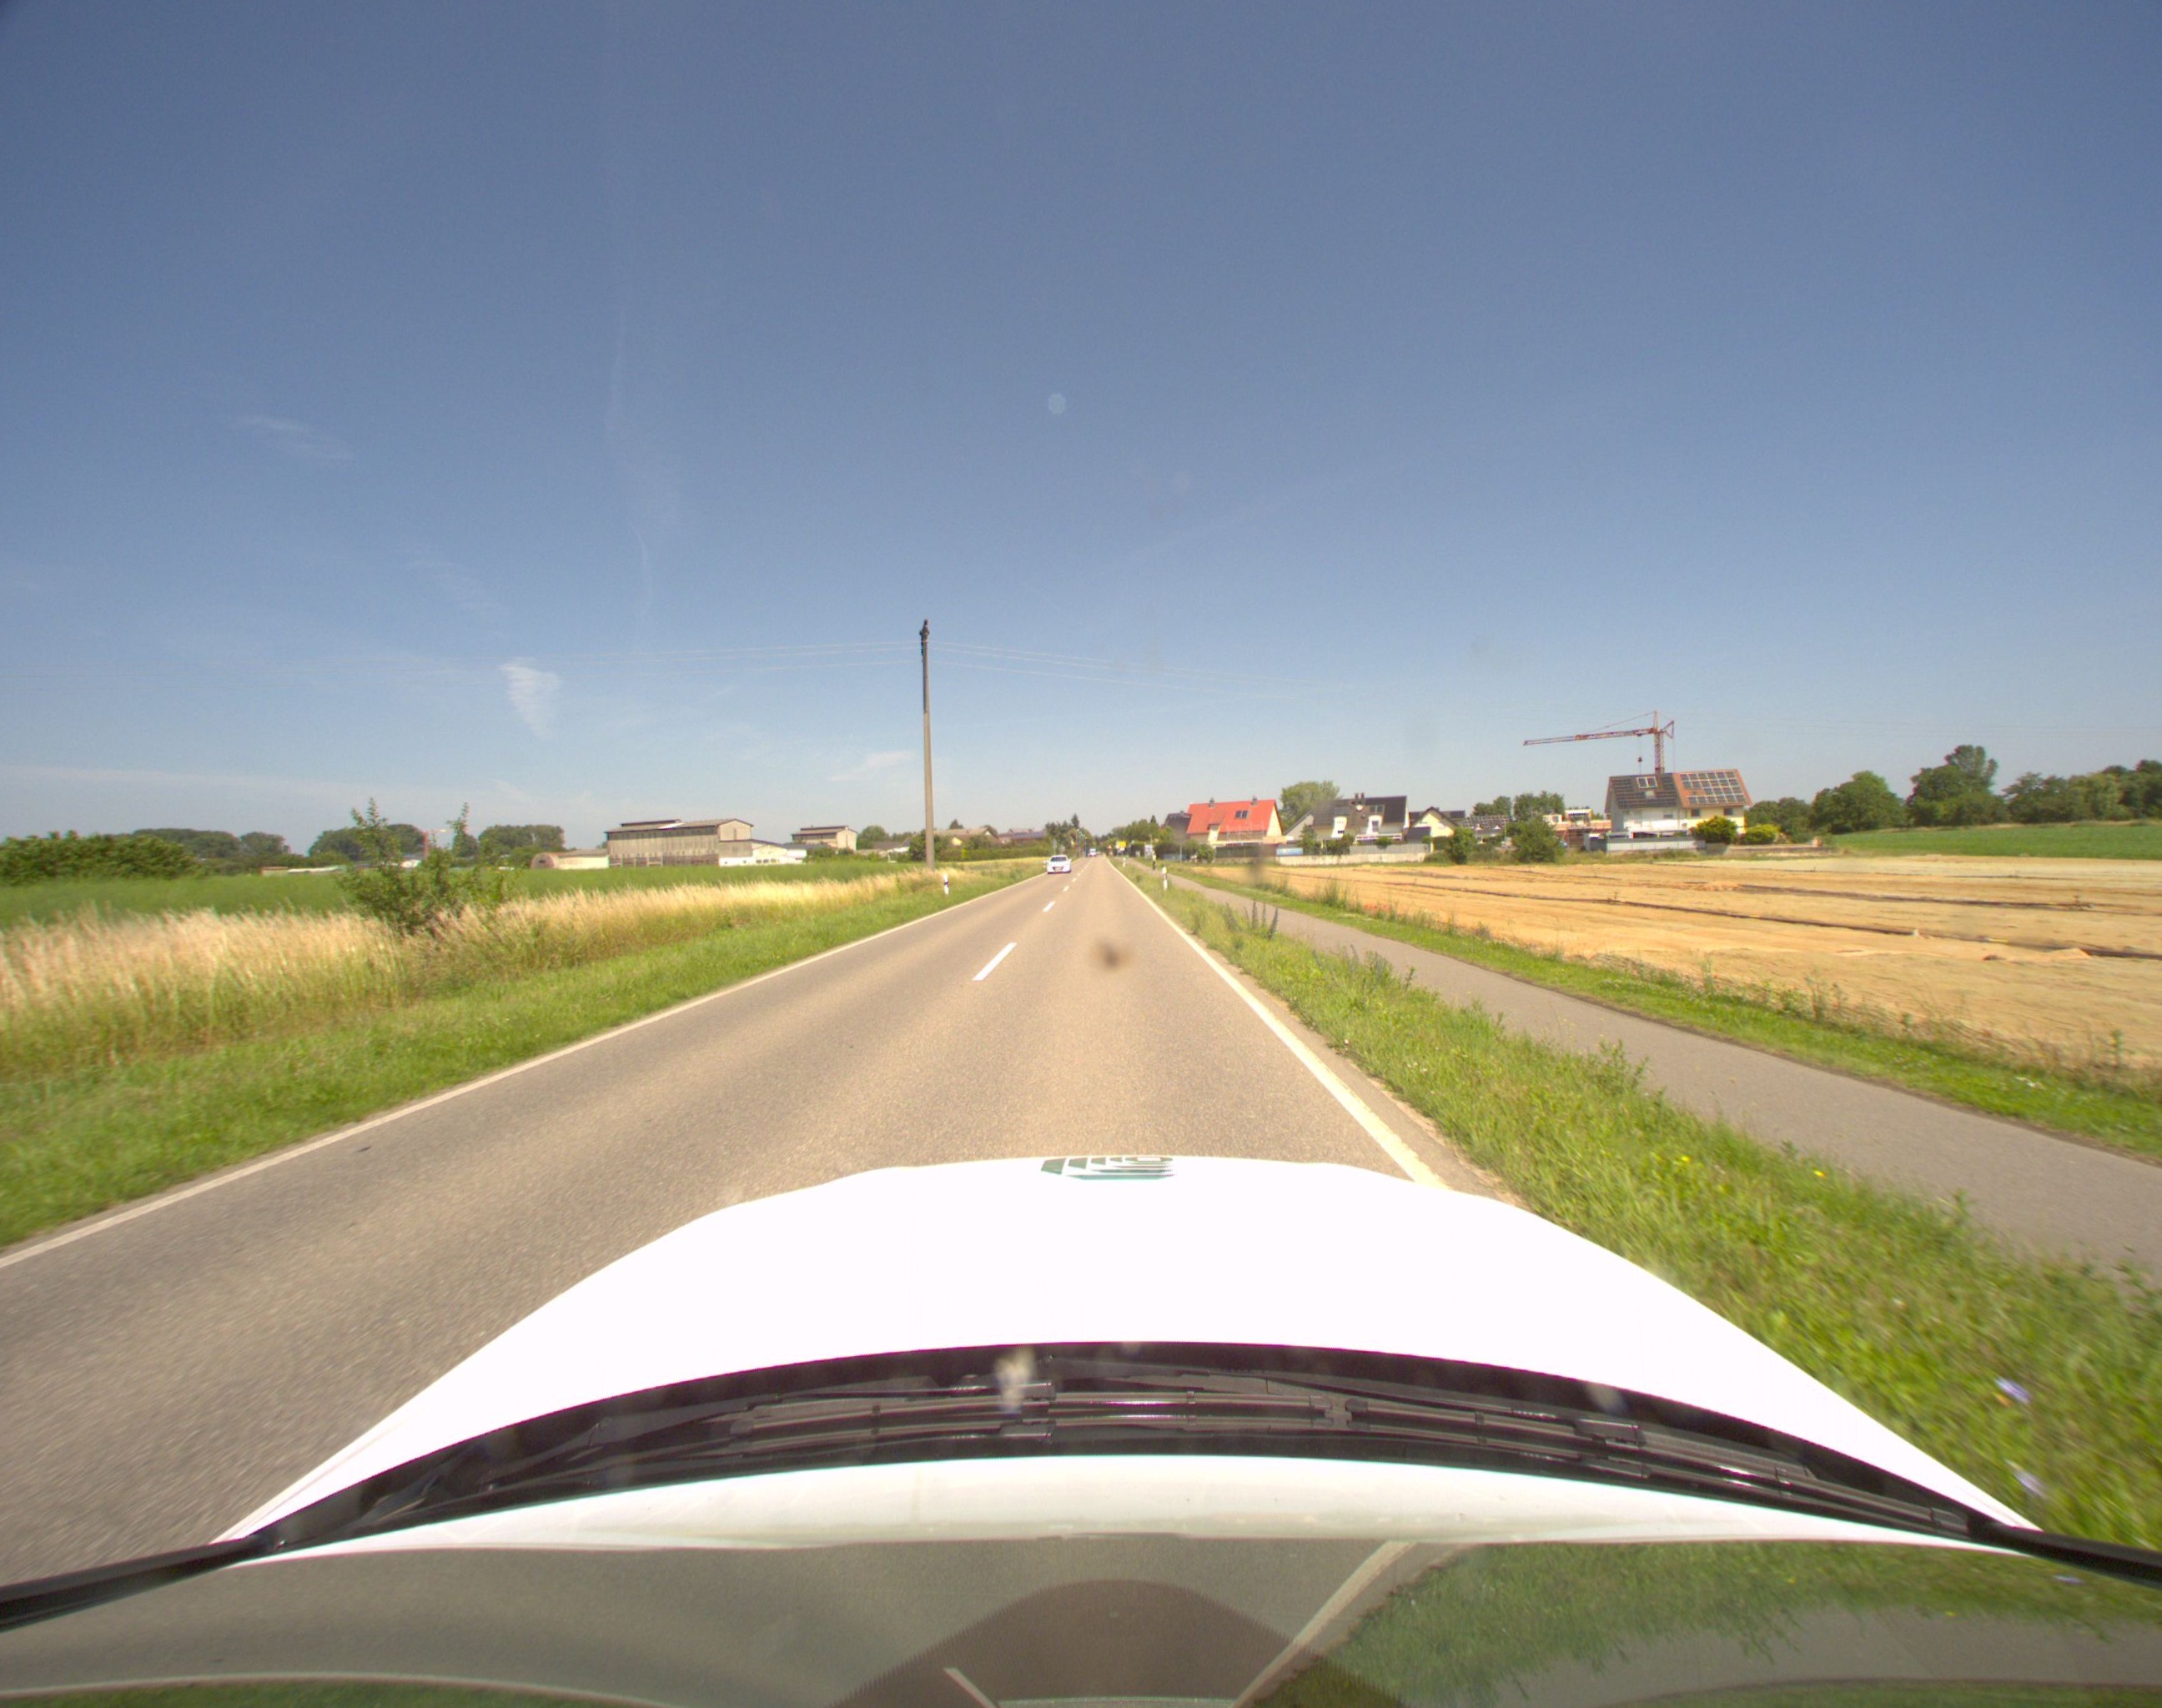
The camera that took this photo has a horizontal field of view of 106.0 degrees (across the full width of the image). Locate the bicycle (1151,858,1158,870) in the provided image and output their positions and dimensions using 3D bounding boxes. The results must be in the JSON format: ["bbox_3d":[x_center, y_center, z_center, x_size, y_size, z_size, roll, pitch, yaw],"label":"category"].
[{"bbox_3d":[7.862,1.080,87.537,0.608,1.158,2.274,0,1,1],"label":"bicycle"}]

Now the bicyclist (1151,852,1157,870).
[{"bbox_3d":[7.854,0.705,87.519,0.642,1.889,0.861,0,1,0],"label":"bicyclist"}]

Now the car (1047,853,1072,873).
[{"bbox_3d":[-1.709,0.698,65.530,1.785,1.409,4.186,-3,0,1],"label":"car"}]
